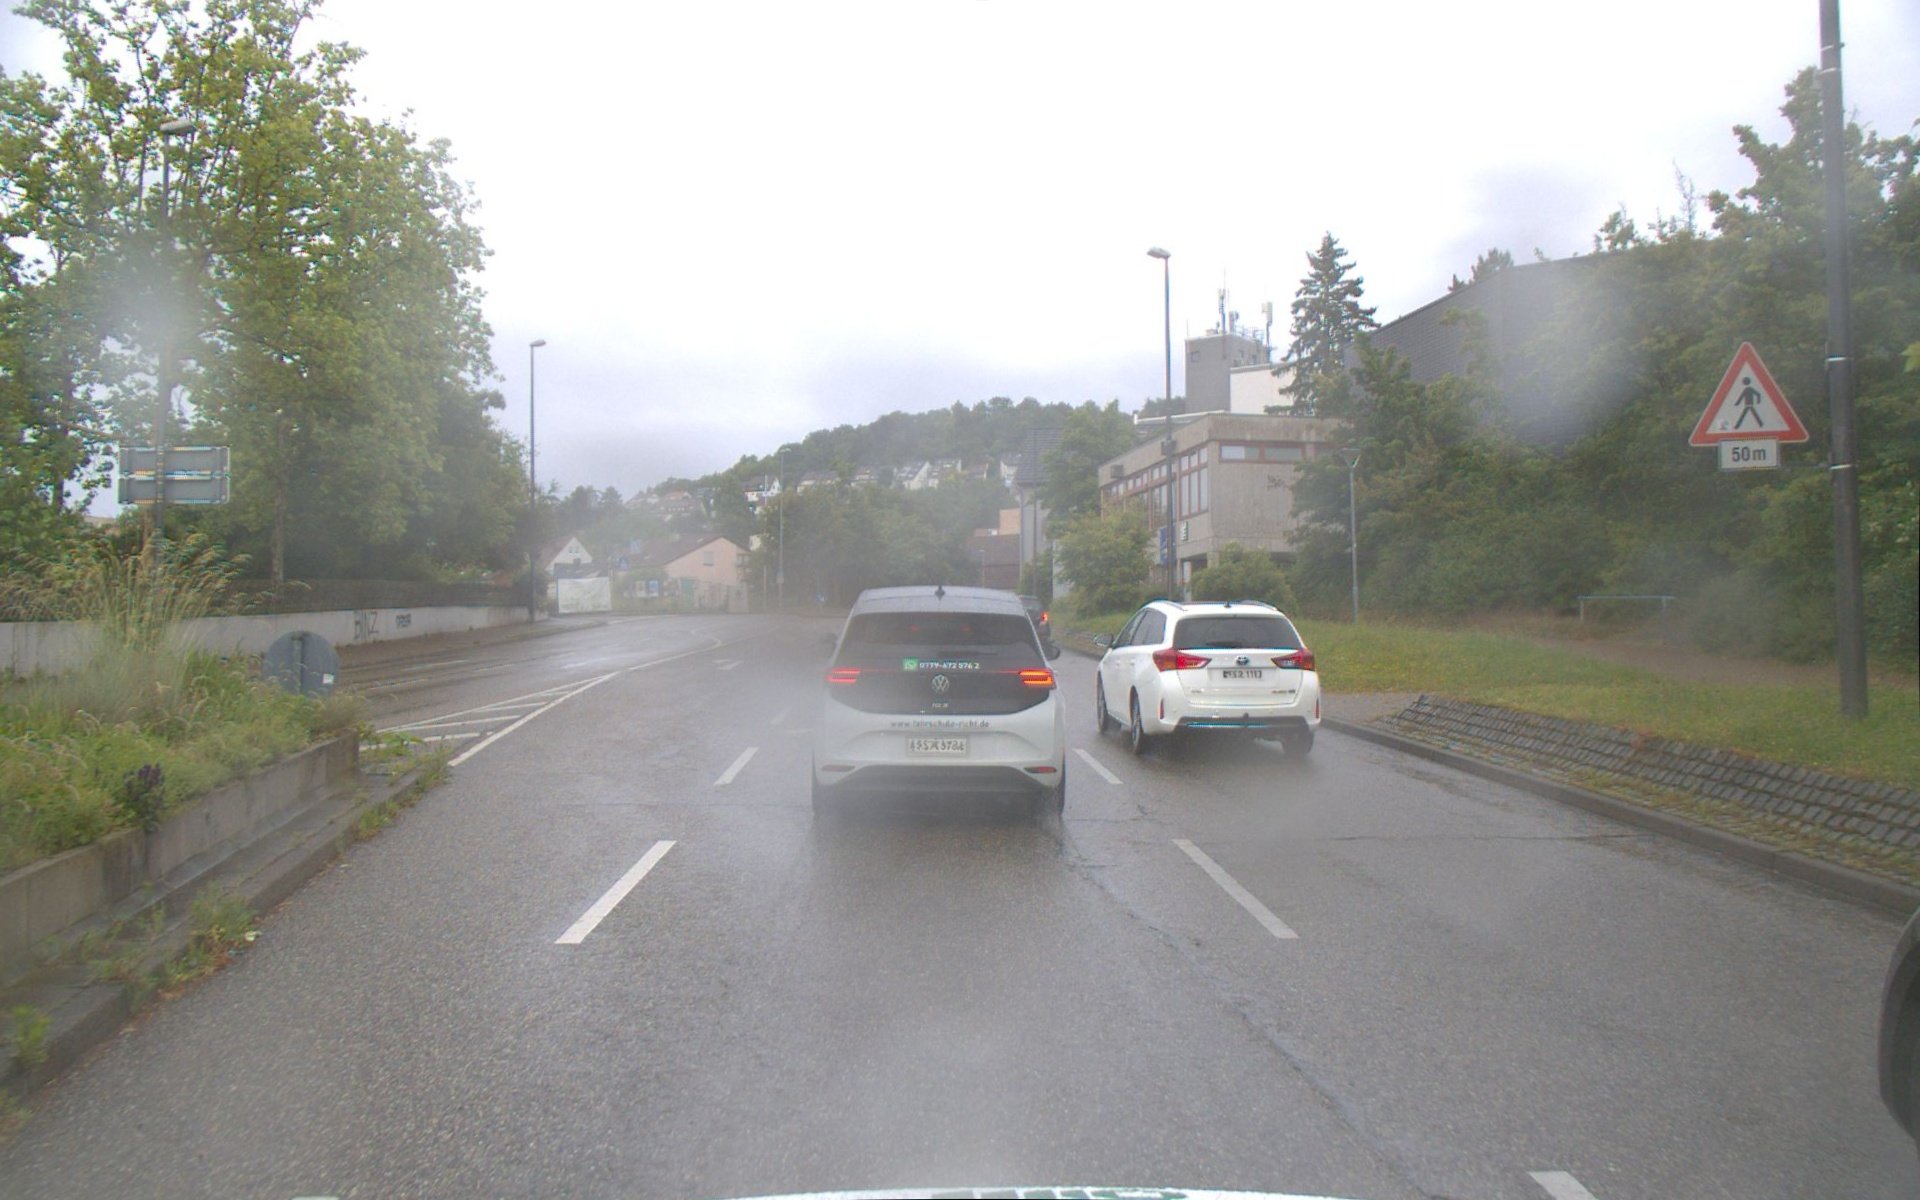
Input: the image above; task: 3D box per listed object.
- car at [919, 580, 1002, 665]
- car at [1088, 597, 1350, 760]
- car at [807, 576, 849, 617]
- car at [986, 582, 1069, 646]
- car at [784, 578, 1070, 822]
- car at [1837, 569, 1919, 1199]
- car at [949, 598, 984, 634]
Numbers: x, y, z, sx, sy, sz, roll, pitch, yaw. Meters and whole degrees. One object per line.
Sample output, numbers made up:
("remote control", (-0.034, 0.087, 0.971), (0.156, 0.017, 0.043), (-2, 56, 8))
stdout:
("car", (-0.037, 0.409, 32.499), (1.535, 1.557, 3.999), (0, 0, -2))
("car", (2.477, 0.729, 16.874), (1.811, 1.434, 4.299), (1, -1, -3))
("car", (-7.038, -0.162, 88.318), (1.953, 2.049, 3.999), (1, -1, -1))
("car", (1.663, 0.359, 41.913), (1.952, 1.478, 3.771), (-2, -1, 1))
("car", (-0.172, 0.662, 12.547), (1.791, 1.526, 4.168), (1, -1, 1))
("car", (3.324, 0.707, 2.079), (1.914, 1.534, 4.607), (3, -1, -1))
("car", (0.412, 0.945, 98.835), (1.952, 2.049, 4.000), (1, -1, 1))
